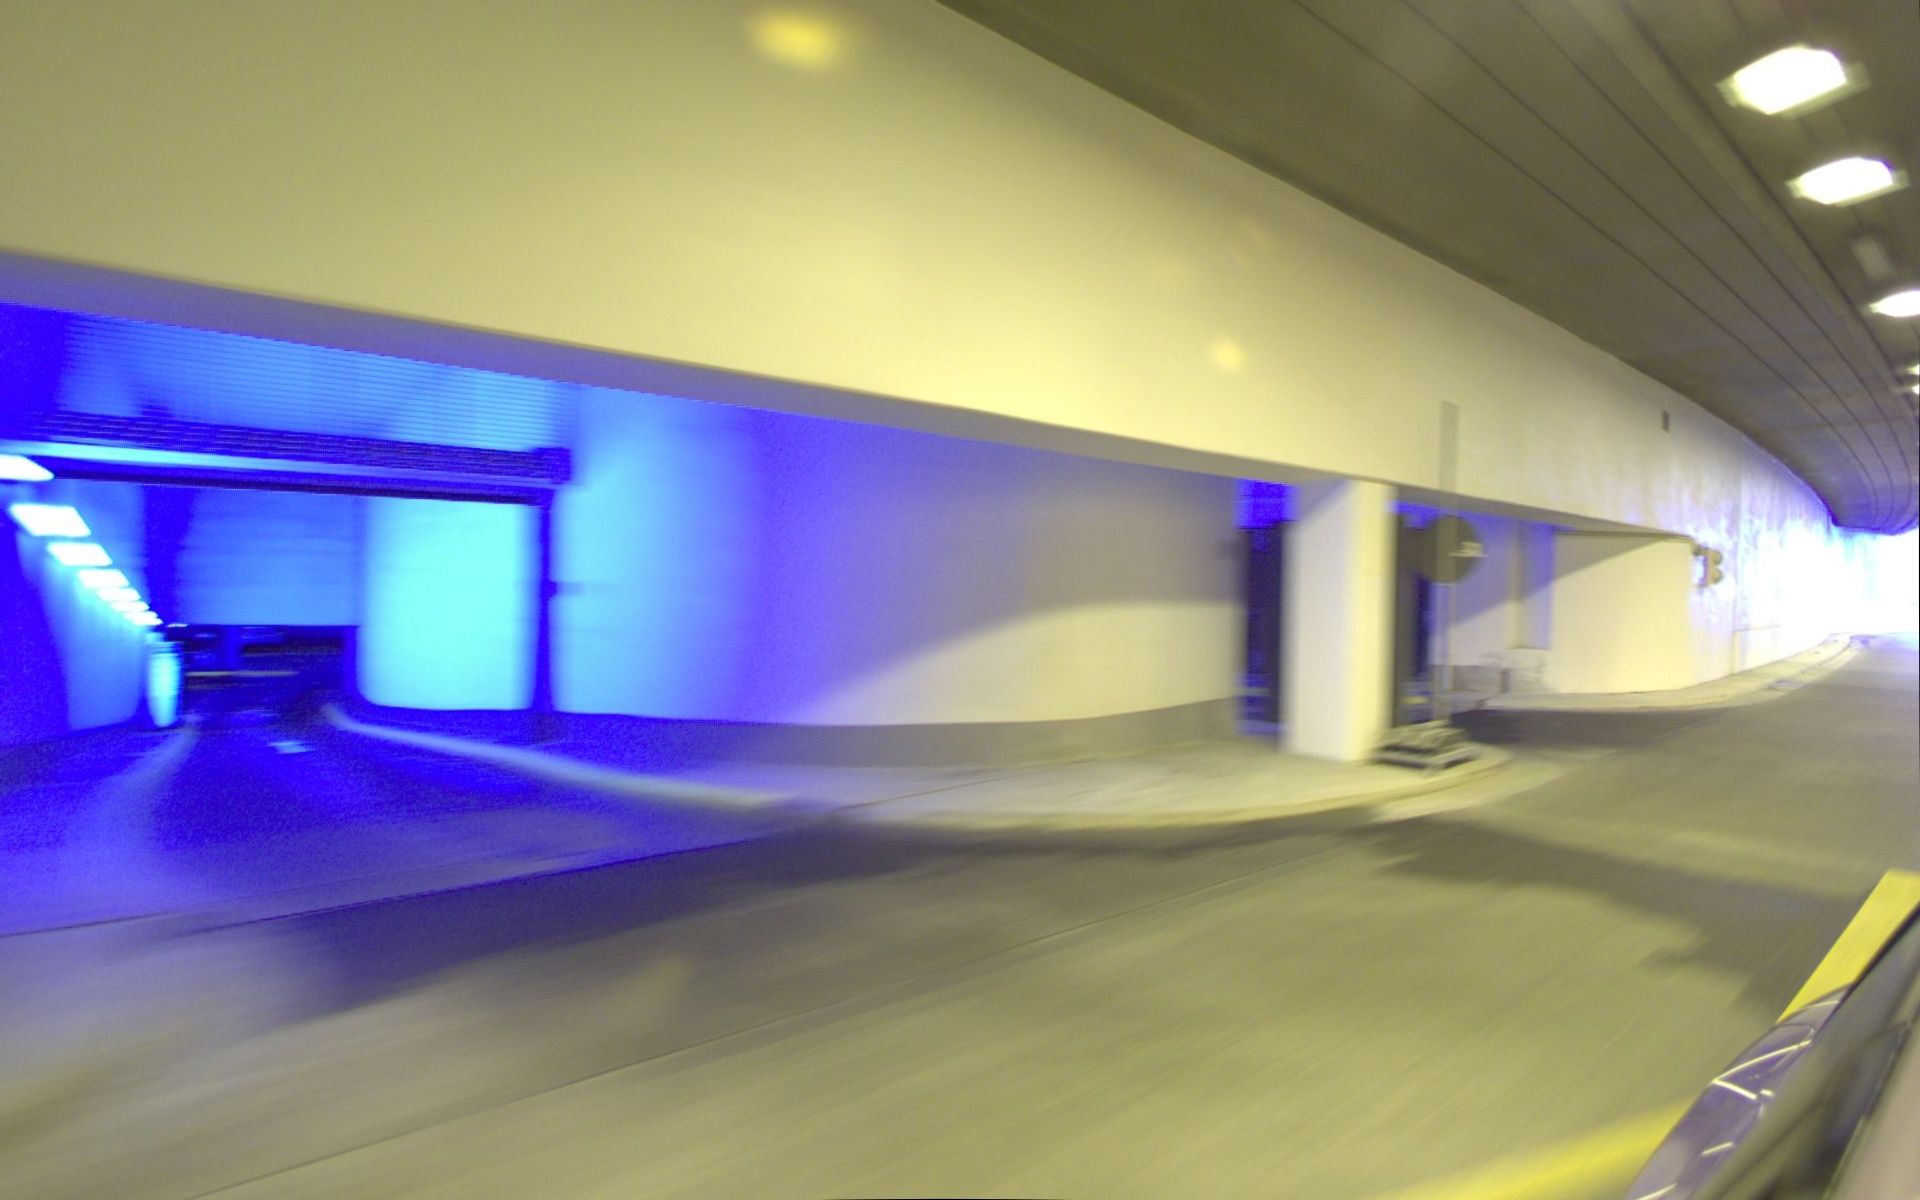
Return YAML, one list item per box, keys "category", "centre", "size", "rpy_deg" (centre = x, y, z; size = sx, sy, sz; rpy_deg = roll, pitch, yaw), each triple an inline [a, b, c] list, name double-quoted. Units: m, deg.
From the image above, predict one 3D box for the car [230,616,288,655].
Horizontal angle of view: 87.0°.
- category: "car"
  centre: [-31.220, 1.550, 45.165]
  size: [1.961, 1.498, 3.843]
  rpy_deg: [-1, 1, -32]

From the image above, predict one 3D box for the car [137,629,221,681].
- category: "car"
  centre: [-27.025, 1.866, 35.142]
  size: [1.961, 1.498, 3.843]
  rpy_deg: [-1, 1, -32]
